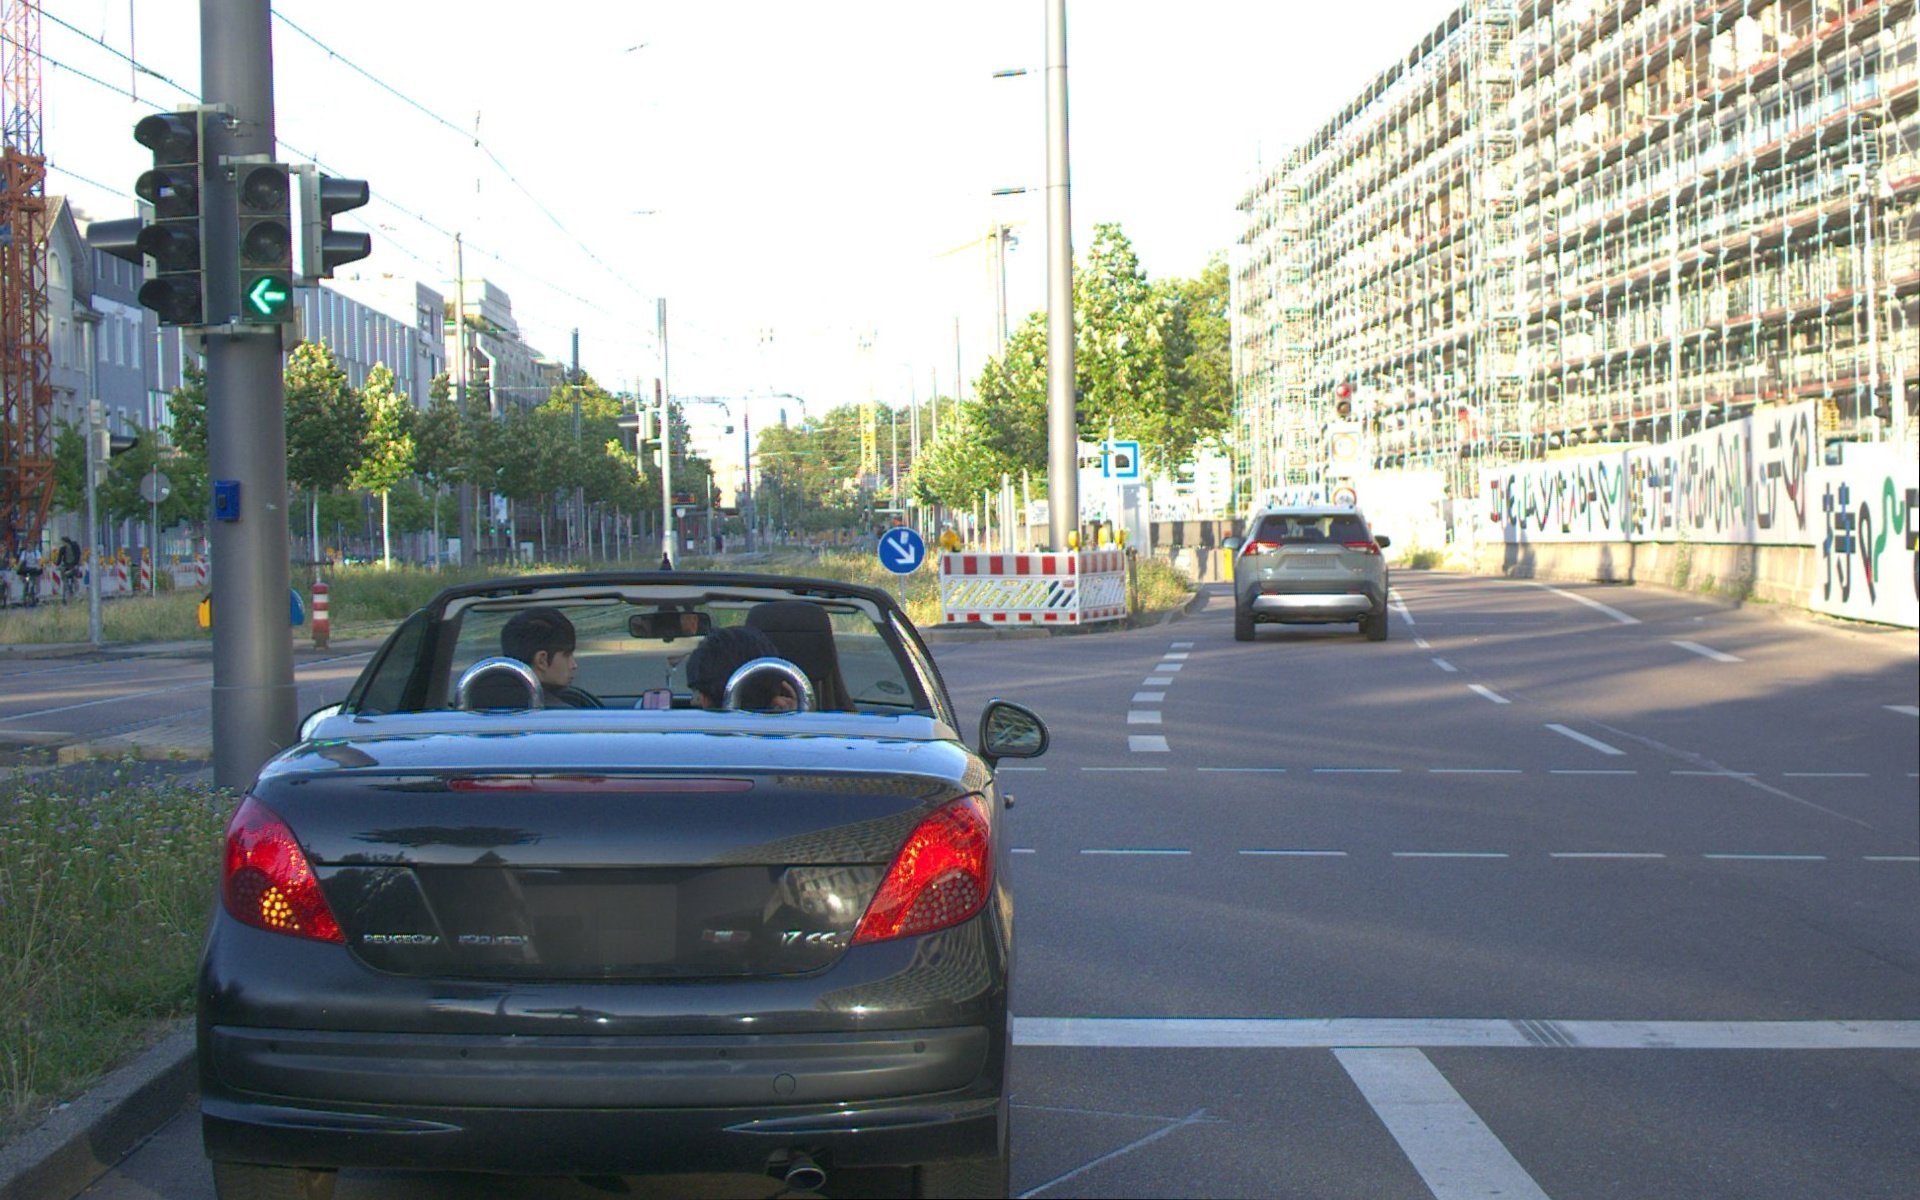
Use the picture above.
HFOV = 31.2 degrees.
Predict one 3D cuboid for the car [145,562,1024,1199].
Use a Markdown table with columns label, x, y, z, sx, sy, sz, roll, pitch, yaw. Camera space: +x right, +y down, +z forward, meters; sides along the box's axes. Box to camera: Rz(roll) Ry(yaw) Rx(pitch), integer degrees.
| label | x | y | z | sx | sy | sz | roll | pitch | yaw |
| --- | --- | --- | --- | --- | --- | --- | --- | --- | --- |
| car | -0.779 | 0.611 | 8.576 | 1.674 | 1.347 | 4.001 | 0 | 2 | -2 |

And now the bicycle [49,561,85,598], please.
| label | x | y | z | sx | sy | sz | roll | pitch | yaw |
| --- | --- | --- | --- | --- | --- | --- | --- | --- | --- |
| bicycle | -24.576 | -0.561 | 94.609 | 0.590 | 0.972 | 1.556 | 1 | 1 | 0 |

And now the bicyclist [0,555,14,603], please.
| label | x | y | z | sx | sy | sz | roll | pitch | yaw |
| --- | --- | --- | --- | --- | --- | --- | --- | --- | --- |
| bicyclist | -25.452 | -0.549 | 91.208 | 0.590 | 1.262 | 0.460 | 1 | 1 | -3 |

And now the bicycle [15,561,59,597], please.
| label | x | y | z | sx | sy | sz | roll | pitch | yaw |
| --- | --- | --- | --- | --- | --- | --- | --- | --- | --- |
| bicycle | -25.417 | -0.583 | 94.718 | 0.772 | 0.942 | 1.640 | 1 | 1 | 0 |

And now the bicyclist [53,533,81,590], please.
| label | x | y | z | sx | sy | sz | roll | pitch | yaw |
| --- | --- | --- | --- | --- | --- | --- | --- | --- | --- |
| bicyclist | -24.567 | -1.060 | 94.597 | 0.590 | 1.564 | 0.711 | 1 | 1 | 0 |

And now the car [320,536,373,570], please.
| label | x | y | z | sx | sy | sz | roll | pitch | yaw |
| --- | --- | --- | --- | --- | --- | --- | --- | --- | --- |
| car | -27.489 | -2.106 | 154.090 | 1.658 | 1.426 | 3.895 | 1 | 2 | 0 |

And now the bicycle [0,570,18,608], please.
| label | x | y | z | sx | sy | sz | roll | pitch | yaw |
| --- | --- | --- | --- | --- | --- | --- | --- | --- | --- |
| bicycle | -25.457 | -0.297 | 91.213 | 0.590 | 0.985 | 1.556 | 1 | 1 | -3 |

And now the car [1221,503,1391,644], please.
| label | x | y | z | sx | sy | sz | roll | pitch | yaw |
| --- | --- | --- | --- | --- | --- | --- | --- | --- | --- |
| car | 4.262 | -0.370 | 42.897 | 1.834 | 1.666 | 4.282 | 0 | 2 | 2 |

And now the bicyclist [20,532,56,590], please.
| label | x | y | z | sx | sy | sz | roll | pitch | yaw |
| --- | --- | --- | --- | --- | --- | --- | --- | --- | --- |
| bicyclist | -25.407 | -1.084 | 94.707 | 0.772 | 1.565 | 0.793 | 1 | 1 | 0 |
